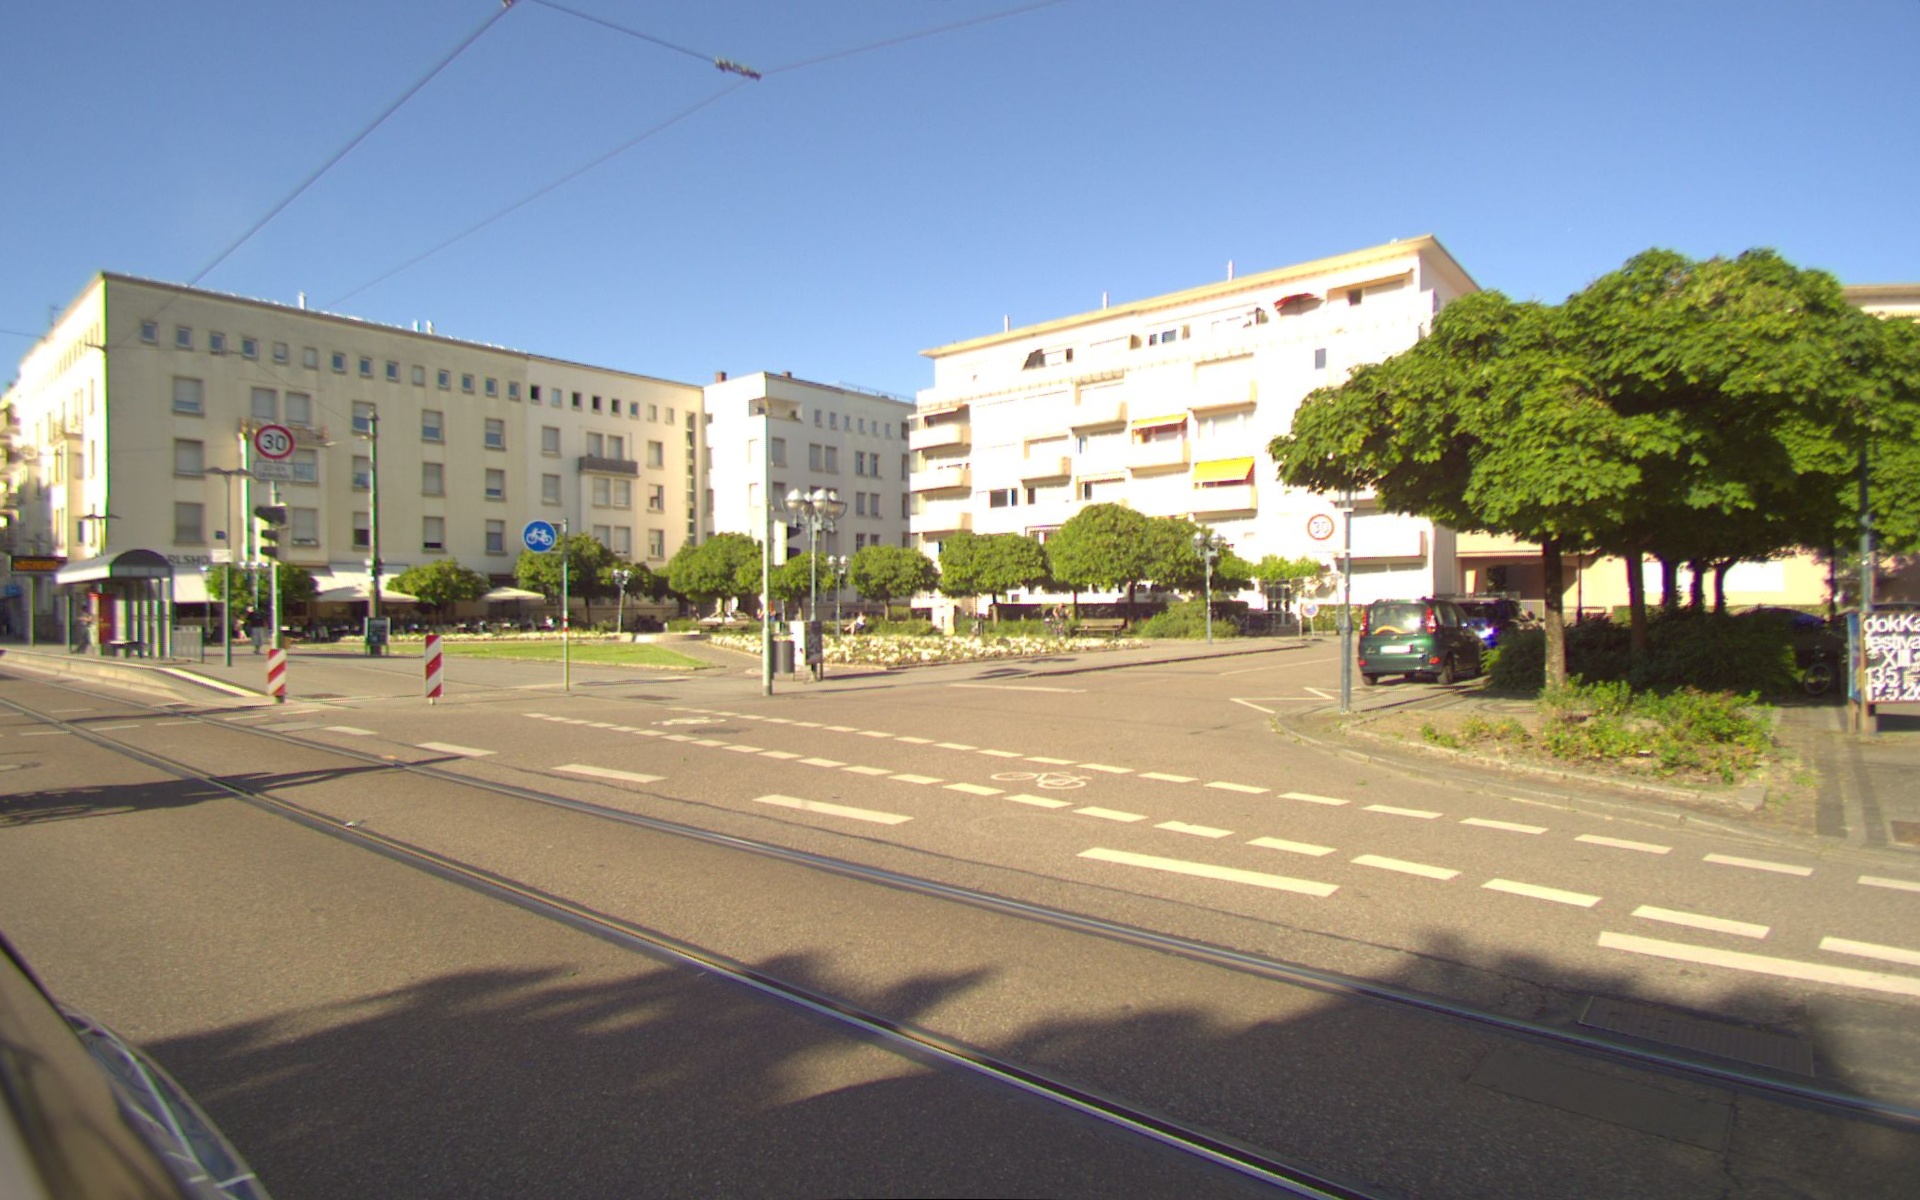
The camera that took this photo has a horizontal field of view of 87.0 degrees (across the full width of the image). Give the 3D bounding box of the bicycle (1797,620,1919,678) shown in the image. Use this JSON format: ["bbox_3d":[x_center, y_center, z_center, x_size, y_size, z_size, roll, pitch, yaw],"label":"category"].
[{"bbox_3d":[17.435,0.915,19.295,2.226,1.057,0.620,-1,-1,37],"label":"bicycle"}]

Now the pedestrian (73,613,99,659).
[{"bbox_3d":[-29.248,1.199,33.864,0.609,1.502,0.545,-1,-1,34],"label":"pedestrian"}]

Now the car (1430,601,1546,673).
[{"bbox_3d":[13.093,0.861,25.007,1.757,1.628,3.939,-1,-1,39],"label":"car"}]

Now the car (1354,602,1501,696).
[{"bbox_3d":[9.502,0.905,20.432,1.676,1.723,3.938,-1,-1,40],"label":"car"}]

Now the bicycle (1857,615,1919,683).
[{"bbox_3d":[16.663,0.815,16.914,2.433,1.133,0.620,-1,-1,37],"label":"bicycle"}]

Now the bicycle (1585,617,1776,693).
[{"bbox_3d":[11.503,0.844,16.235,2.436,1.133,0.620,-1,-1,41],"label":"bicycle"}]

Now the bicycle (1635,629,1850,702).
[{"bbox_3d":[11.649,0.938,15.144,2.492,0.995,0.745,-1,-1,42],"label":"bicycle"}]

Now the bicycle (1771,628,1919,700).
[{"bbox_3d":[13.451,0.911,14.761,2.492,0.995,0.745,-1,-1,41],"label":"bicycle"}]

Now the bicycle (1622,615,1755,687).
[{"bbox_3d":[12.425,0.829,17.366,0.620,1.133,2.435,-1,-1,3],"label":"bicycle"}]

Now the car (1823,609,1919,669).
[{"bbox_3d":[20.951,0.808,21.459,3.997,1.240,1.714,-1,-1,41],"label":"car"}]

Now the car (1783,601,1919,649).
[{"bbox_3d":[31.734,0.864,35.781,4.296,1.597,1.797,0,-1,-13],"label":"car"}]

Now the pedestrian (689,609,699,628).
[{"bbox_3d":[-17.468,1.200,66.354,0.499,1.231,0.396,0,-1,-44],"label":"pedestrian"}]

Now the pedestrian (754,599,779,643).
[{"bbox_3d":[-7.449,0.806,39.014,0.827,1.708,0.667,-1,-1,0],"label":"pedestrian"}]

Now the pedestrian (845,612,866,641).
[{"bbox_3d":[-5.132,1.312,49.789,0.667,1.429,0.828,-1,-1,39],"label":"pedestrian"}]

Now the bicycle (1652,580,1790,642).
[{"bbox_3d":[14.543,0.210,19.352,2.398,1.133,0.630,-1,-1,-10],"label":"bicycle"}]

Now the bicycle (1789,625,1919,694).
[{"bbox_3d":[14.078,0.889,15.250,2.436,0.995,0.620,-1,-1,41],"label":"bicycle"}]

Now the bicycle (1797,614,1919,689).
[{"bbox_3d":[14.630,0.795,15.759,2.436,1.133,0.620,-1,-1,41],"label":"bicycle"}]

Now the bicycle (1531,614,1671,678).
[{"bbox_3d":[11.970,0.835,18.916,2.398,1.133,0.630,-1,-1,-10],"label":"bicycle"}]
